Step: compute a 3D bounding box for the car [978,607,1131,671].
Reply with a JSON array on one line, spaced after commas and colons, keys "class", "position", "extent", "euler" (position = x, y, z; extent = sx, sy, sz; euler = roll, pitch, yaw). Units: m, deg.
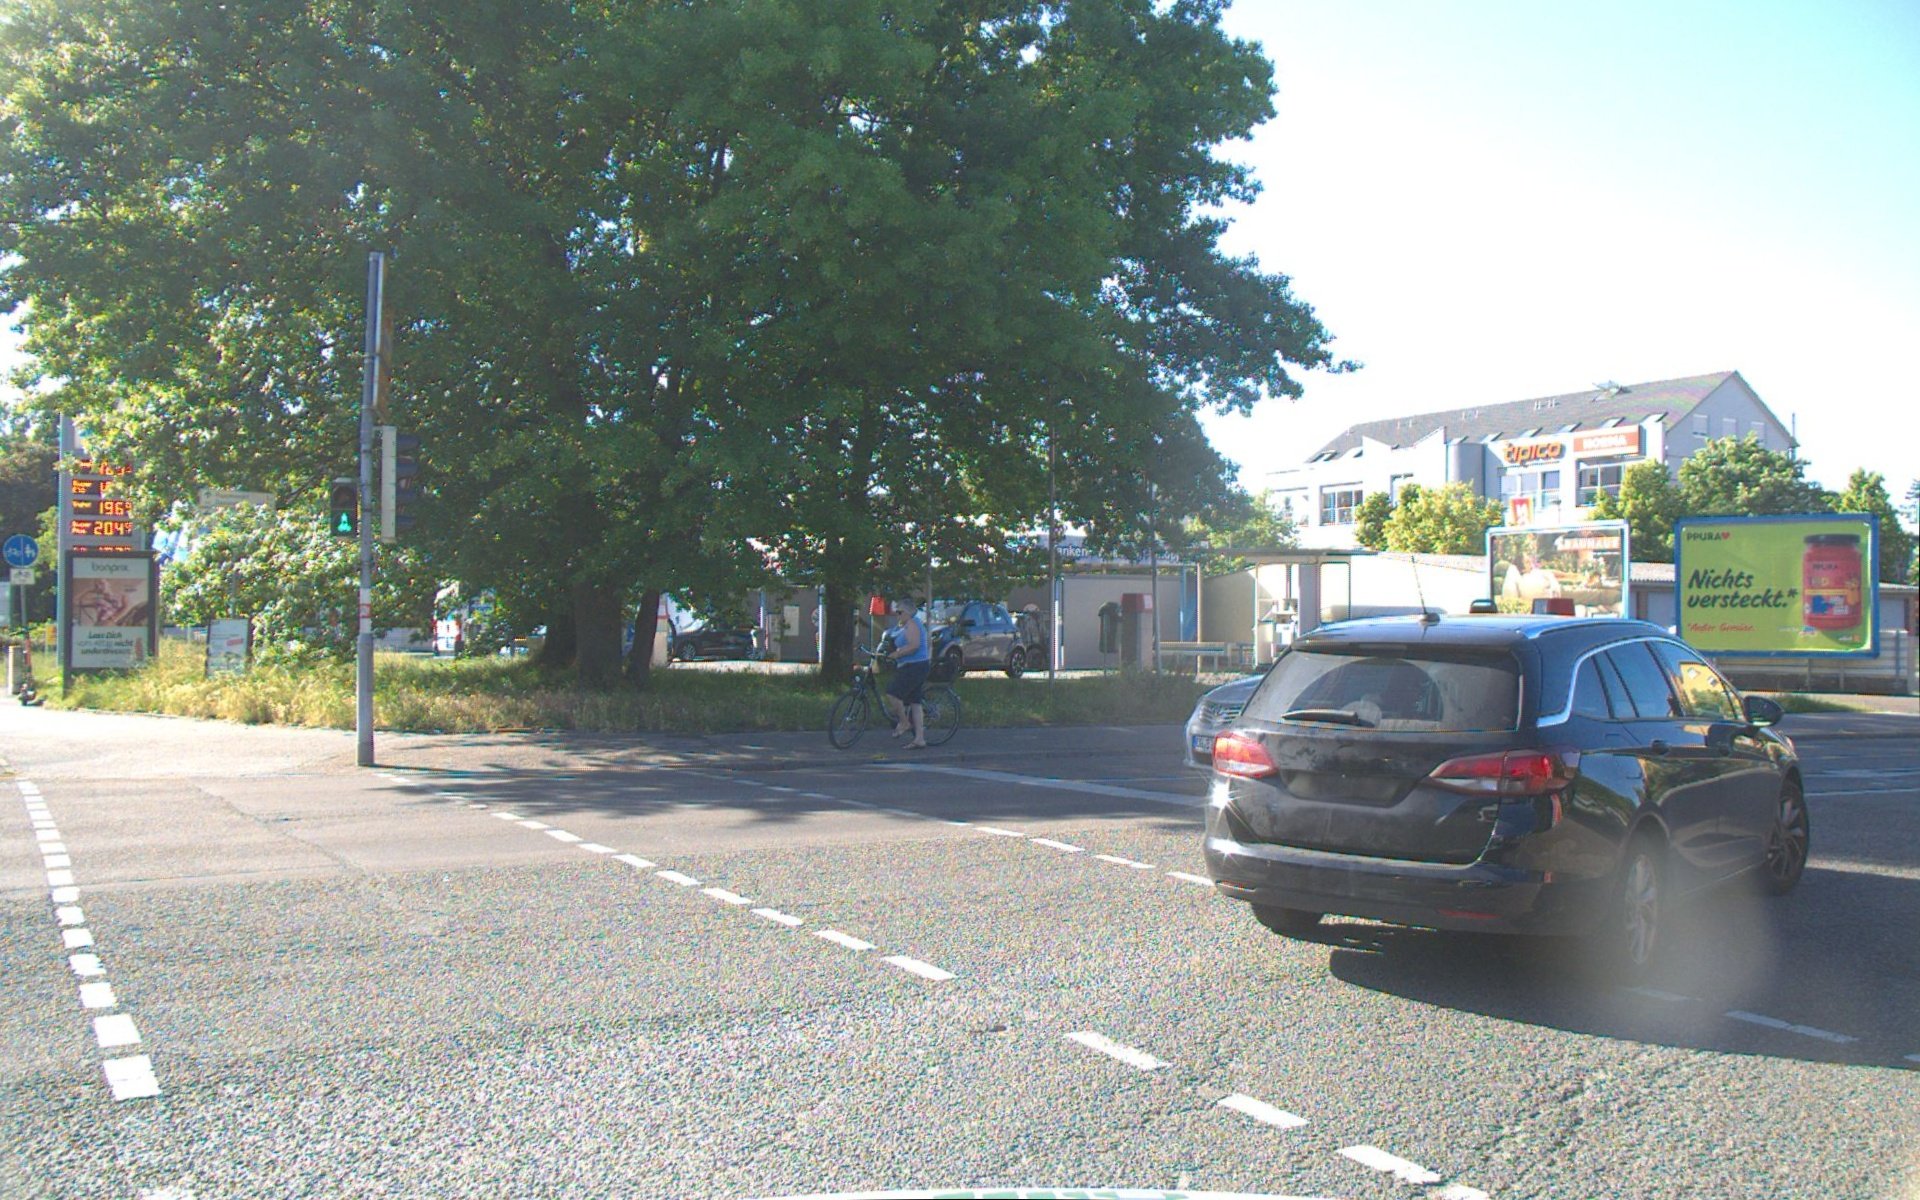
[{"class": "car", "position": [2.706, 1.129, 46.971], "extent": [3.953, 1.635, 1.976], "euler": [3, -3, -35]}]

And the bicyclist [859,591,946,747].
[{"class": "bicyclist", "position": [-0.631, 0.746, 18.214], "extent": [0.817, 1.670, 0.538], "euler": [0, -1, -28]}]

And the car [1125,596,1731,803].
[{"class": "car", "position": [3.944, 0.774, 13.920], "extent": [4.805, 1.515, 1.830], "euler": [0, -2, -22]}]

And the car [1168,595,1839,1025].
[{"class": "car", "position": [2.896, 0.782, 8.123], "extent": [1.734, 1.517, 4.269], "euler": [1, -1, 39]}]

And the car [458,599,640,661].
[{"class": "car", "position": [-10.055, 0.757, 40.627], "extent": [3.970, 1.359, 1.770], "euler": [4, -4, -45]}]

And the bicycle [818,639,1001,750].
[{"class": "bicycle", "position": [-0.546, 1.014, 18.238], "extent": [1.995, 1.162, 0.524], "euler": [0, -1, -28]}]

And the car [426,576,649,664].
[{"class": "car", "position": [-11.615, 0.602, 45.662], "extent": [5.582, 2.136, 1.977], "euler": [3, -3, -33]}]

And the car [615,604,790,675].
[{"class": "car", "position": [-6.126, 0.978, 39.664], "extent": [3.968, 1.538, 1.507], "euler": [4, -3, -43]}]

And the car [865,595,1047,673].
[{"class": "car", "position": [-0.013, 0.706, 33.092], "extent": [1.723, 1.400, 3.988], "euler": [0, -3, 33]}]
